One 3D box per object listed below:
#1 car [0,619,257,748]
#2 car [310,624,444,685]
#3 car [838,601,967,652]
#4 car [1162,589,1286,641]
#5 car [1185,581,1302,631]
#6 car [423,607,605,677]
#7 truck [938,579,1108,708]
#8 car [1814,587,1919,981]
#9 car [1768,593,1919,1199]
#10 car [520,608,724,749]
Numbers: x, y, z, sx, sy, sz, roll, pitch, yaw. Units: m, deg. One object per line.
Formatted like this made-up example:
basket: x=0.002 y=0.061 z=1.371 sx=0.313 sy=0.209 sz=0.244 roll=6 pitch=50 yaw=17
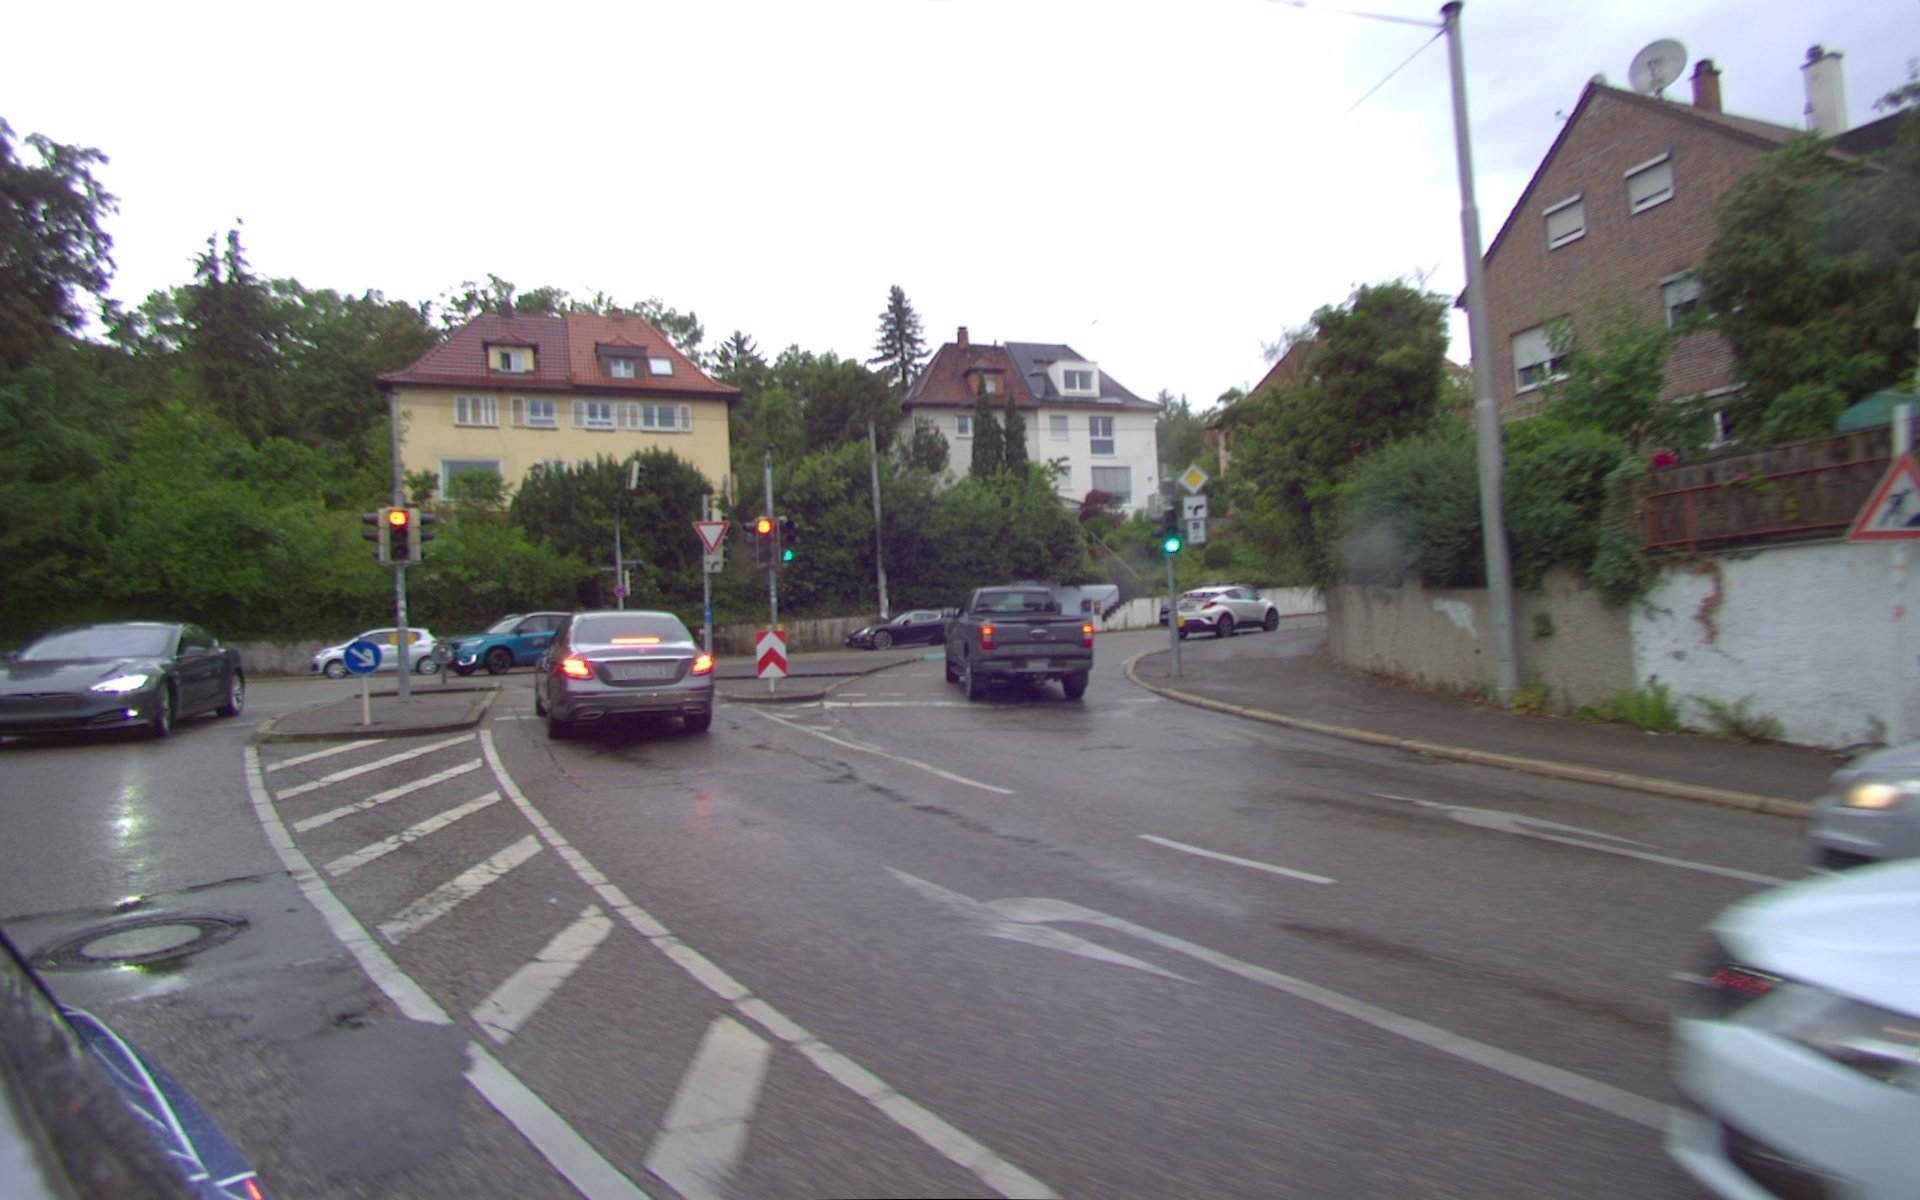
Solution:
car: x=-10.927 y=0.954 z=13.148 sx=1.805 sy=1.402 sz=4.337 roll=1 pitch=-1 yaw=-19
car: x=-17.207 y=1.597 z=29.895 sx=3.309 sy=1.462 sz=1.557 roll=-4 pitch=-3 yaw=-33
car: x=-1.953 y=0.873 z=34.071 sx=3.973 sy=1.471 sz=1.764 roll=-3 pitch=-1 yaw=-16
car: x=8.243 y=0.450 z=31.388 sx=4.196 sy=1.477 sz=1.714 roll=-1 pitch=-1 yaw=-43
car: x=10.772 y=0.219 z=38.468 sx=3.971 sy=1.662 sz=1.765 roll=-2 pitch=-1 yaw=-22
car: x=-11.757 y=1.086 z=26.856 sx=1.801 sy=1.622 sz=3.986 roll=-6 pitch=-4 yaw=41
truck: x=0.878 y=0.653 z=17.452 sx=1.859 sy=1.862 sz=5.289 roll=1 pitch=0 yaw=-8
car: x=5.825 y=0.745 z=3.352 sx=1.691 sy=1.597 sz=4.463 roll=0 pitch=0 yaw=-45
car: x=3.701 y=0.750 z=0.971 sx=4.441 sy=1.485 sz=1.827 roll=-1 pitch=-3 yaw=43
car: x=-4.451 y=0.837 z=12.836 sx=1.832 sy=1.406 sz=4.611 roll=1 pitch=0 yaw=-26
